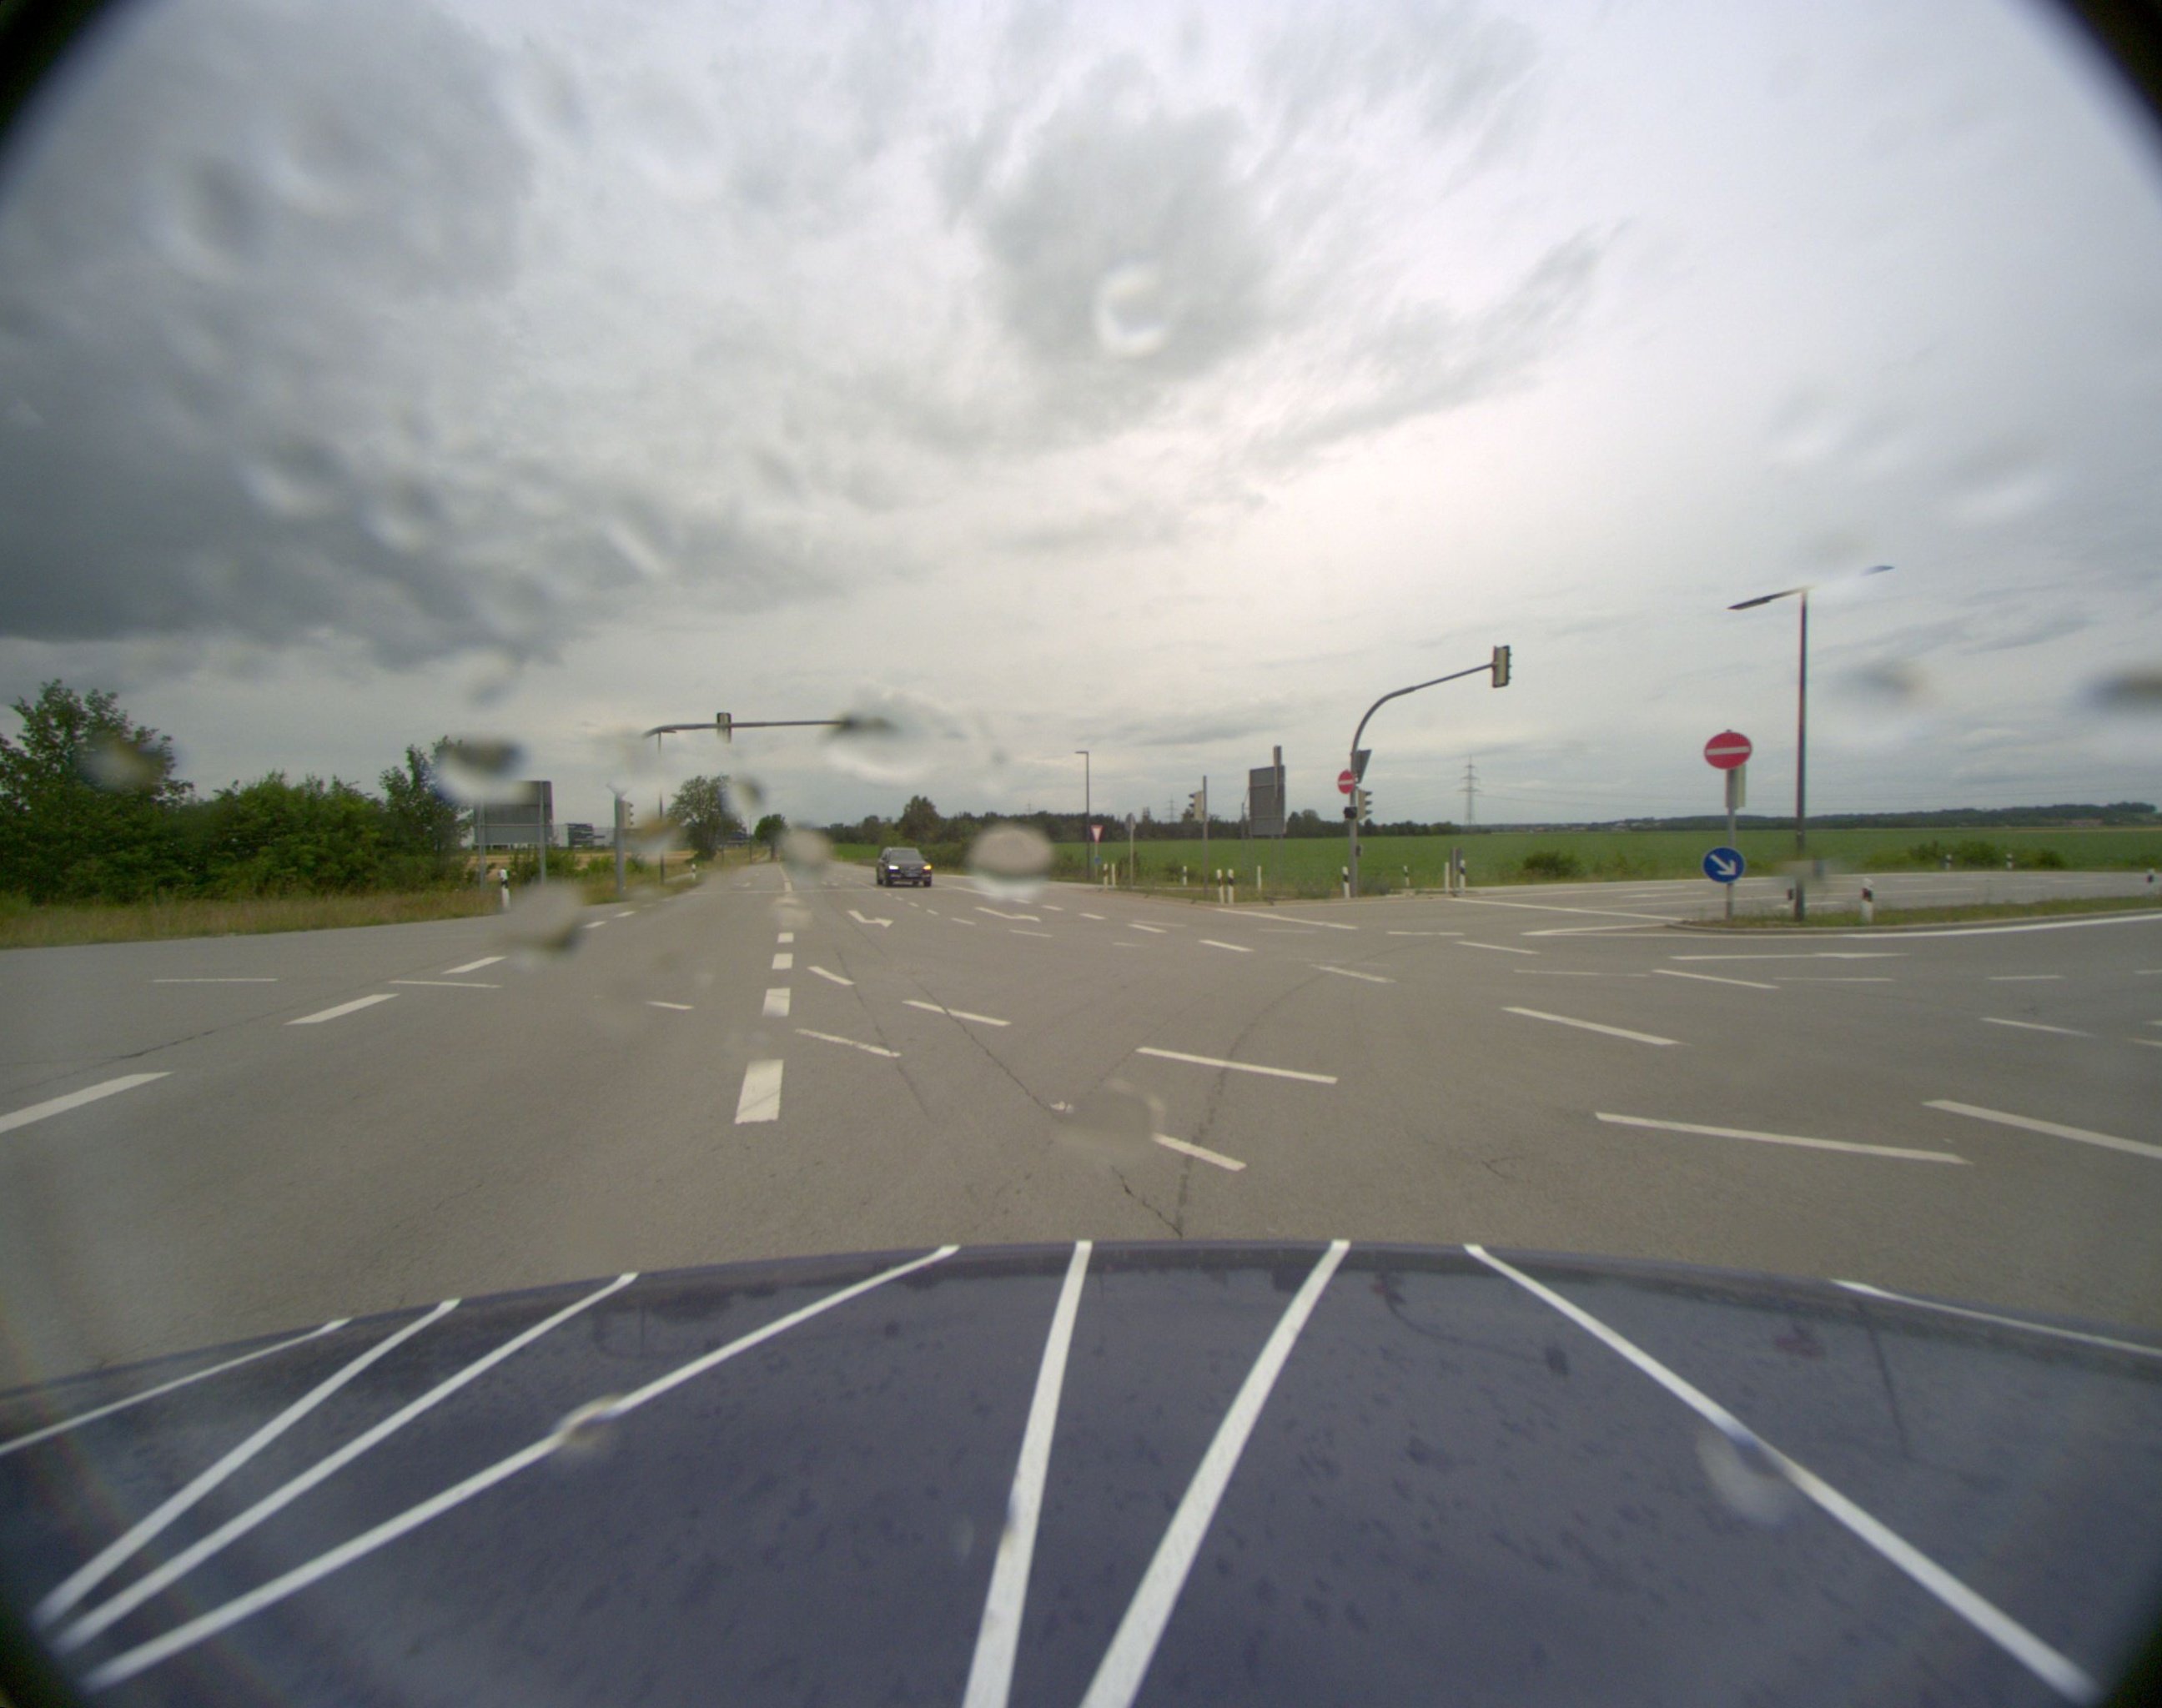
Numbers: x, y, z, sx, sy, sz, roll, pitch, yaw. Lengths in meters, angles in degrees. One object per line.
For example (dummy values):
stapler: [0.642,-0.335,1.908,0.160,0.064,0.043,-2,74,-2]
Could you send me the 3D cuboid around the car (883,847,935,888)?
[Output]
car: [-7.904,0.536,34.606,2.001,1.674,4.991,-1,1,-16]
